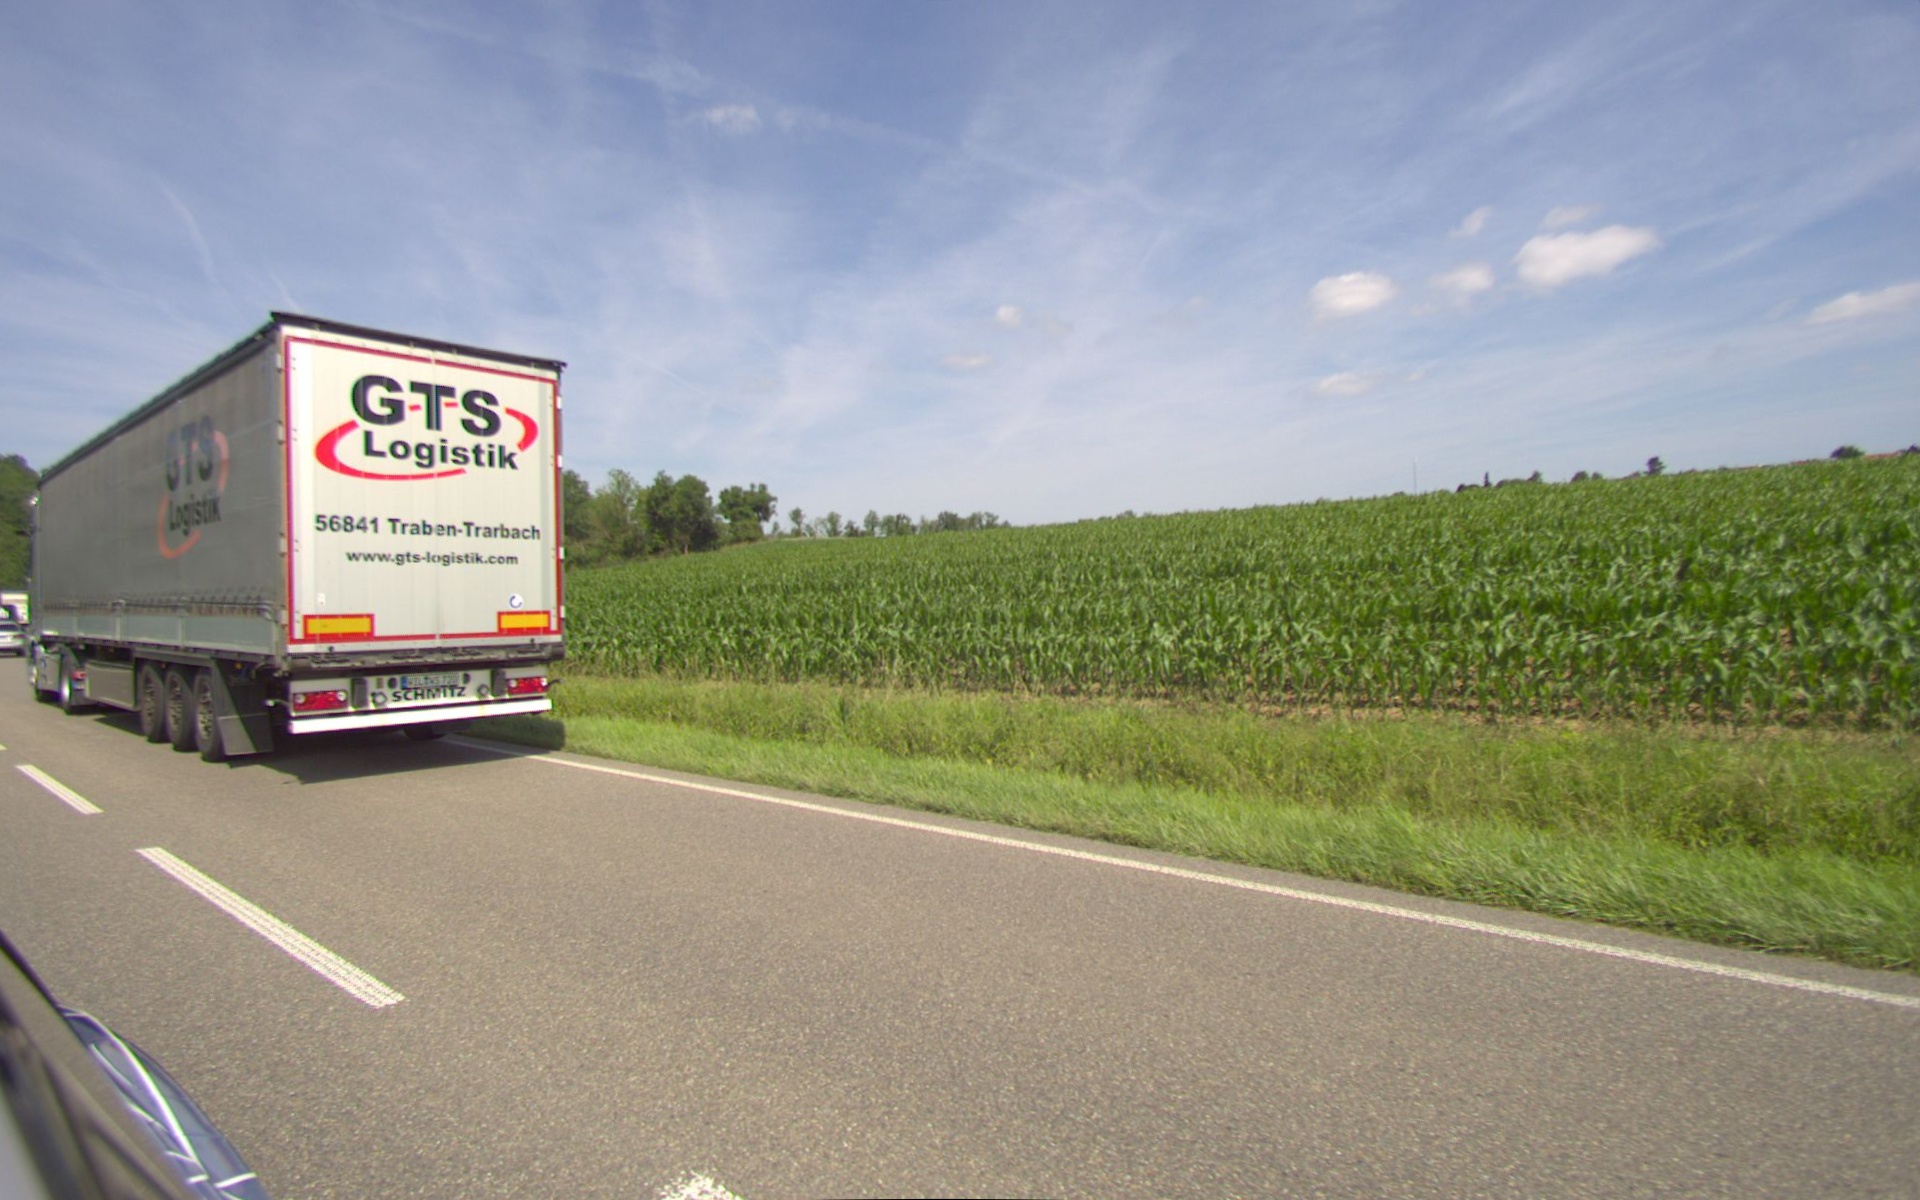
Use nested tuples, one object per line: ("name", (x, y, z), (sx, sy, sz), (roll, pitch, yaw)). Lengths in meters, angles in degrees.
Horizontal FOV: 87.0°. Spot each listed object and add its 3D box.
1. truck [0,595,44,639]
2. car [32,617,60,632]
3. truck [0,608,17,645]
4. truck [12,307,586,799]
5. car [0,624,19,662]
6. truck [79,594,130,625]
("truck", (-82.937, 1.484, 89.538), (2.708, 3.606, 9.738), (-1, 0, -42))
("car", (-115.197, 3.047, 127.564), (1.966, 1.782, 4.011), (-1, 1, -33))
("truck", (-62.980, 1.738, 65.979), (1.985, 2.337, 5.199), (-1, 0, -41))
("truck", (-10.927, -0.248, 14.811), (16.526, 4.023, 2.797), (-1, -1, 42))
("car", (-39.072, 1.722, 40.530), (4.176, 1.451, 1.710), (-1, -1, 42))
("truck", (-116.313, 1.291, 137.788), (2.733, 4.029, 17.077), (-1, 0, -32))
